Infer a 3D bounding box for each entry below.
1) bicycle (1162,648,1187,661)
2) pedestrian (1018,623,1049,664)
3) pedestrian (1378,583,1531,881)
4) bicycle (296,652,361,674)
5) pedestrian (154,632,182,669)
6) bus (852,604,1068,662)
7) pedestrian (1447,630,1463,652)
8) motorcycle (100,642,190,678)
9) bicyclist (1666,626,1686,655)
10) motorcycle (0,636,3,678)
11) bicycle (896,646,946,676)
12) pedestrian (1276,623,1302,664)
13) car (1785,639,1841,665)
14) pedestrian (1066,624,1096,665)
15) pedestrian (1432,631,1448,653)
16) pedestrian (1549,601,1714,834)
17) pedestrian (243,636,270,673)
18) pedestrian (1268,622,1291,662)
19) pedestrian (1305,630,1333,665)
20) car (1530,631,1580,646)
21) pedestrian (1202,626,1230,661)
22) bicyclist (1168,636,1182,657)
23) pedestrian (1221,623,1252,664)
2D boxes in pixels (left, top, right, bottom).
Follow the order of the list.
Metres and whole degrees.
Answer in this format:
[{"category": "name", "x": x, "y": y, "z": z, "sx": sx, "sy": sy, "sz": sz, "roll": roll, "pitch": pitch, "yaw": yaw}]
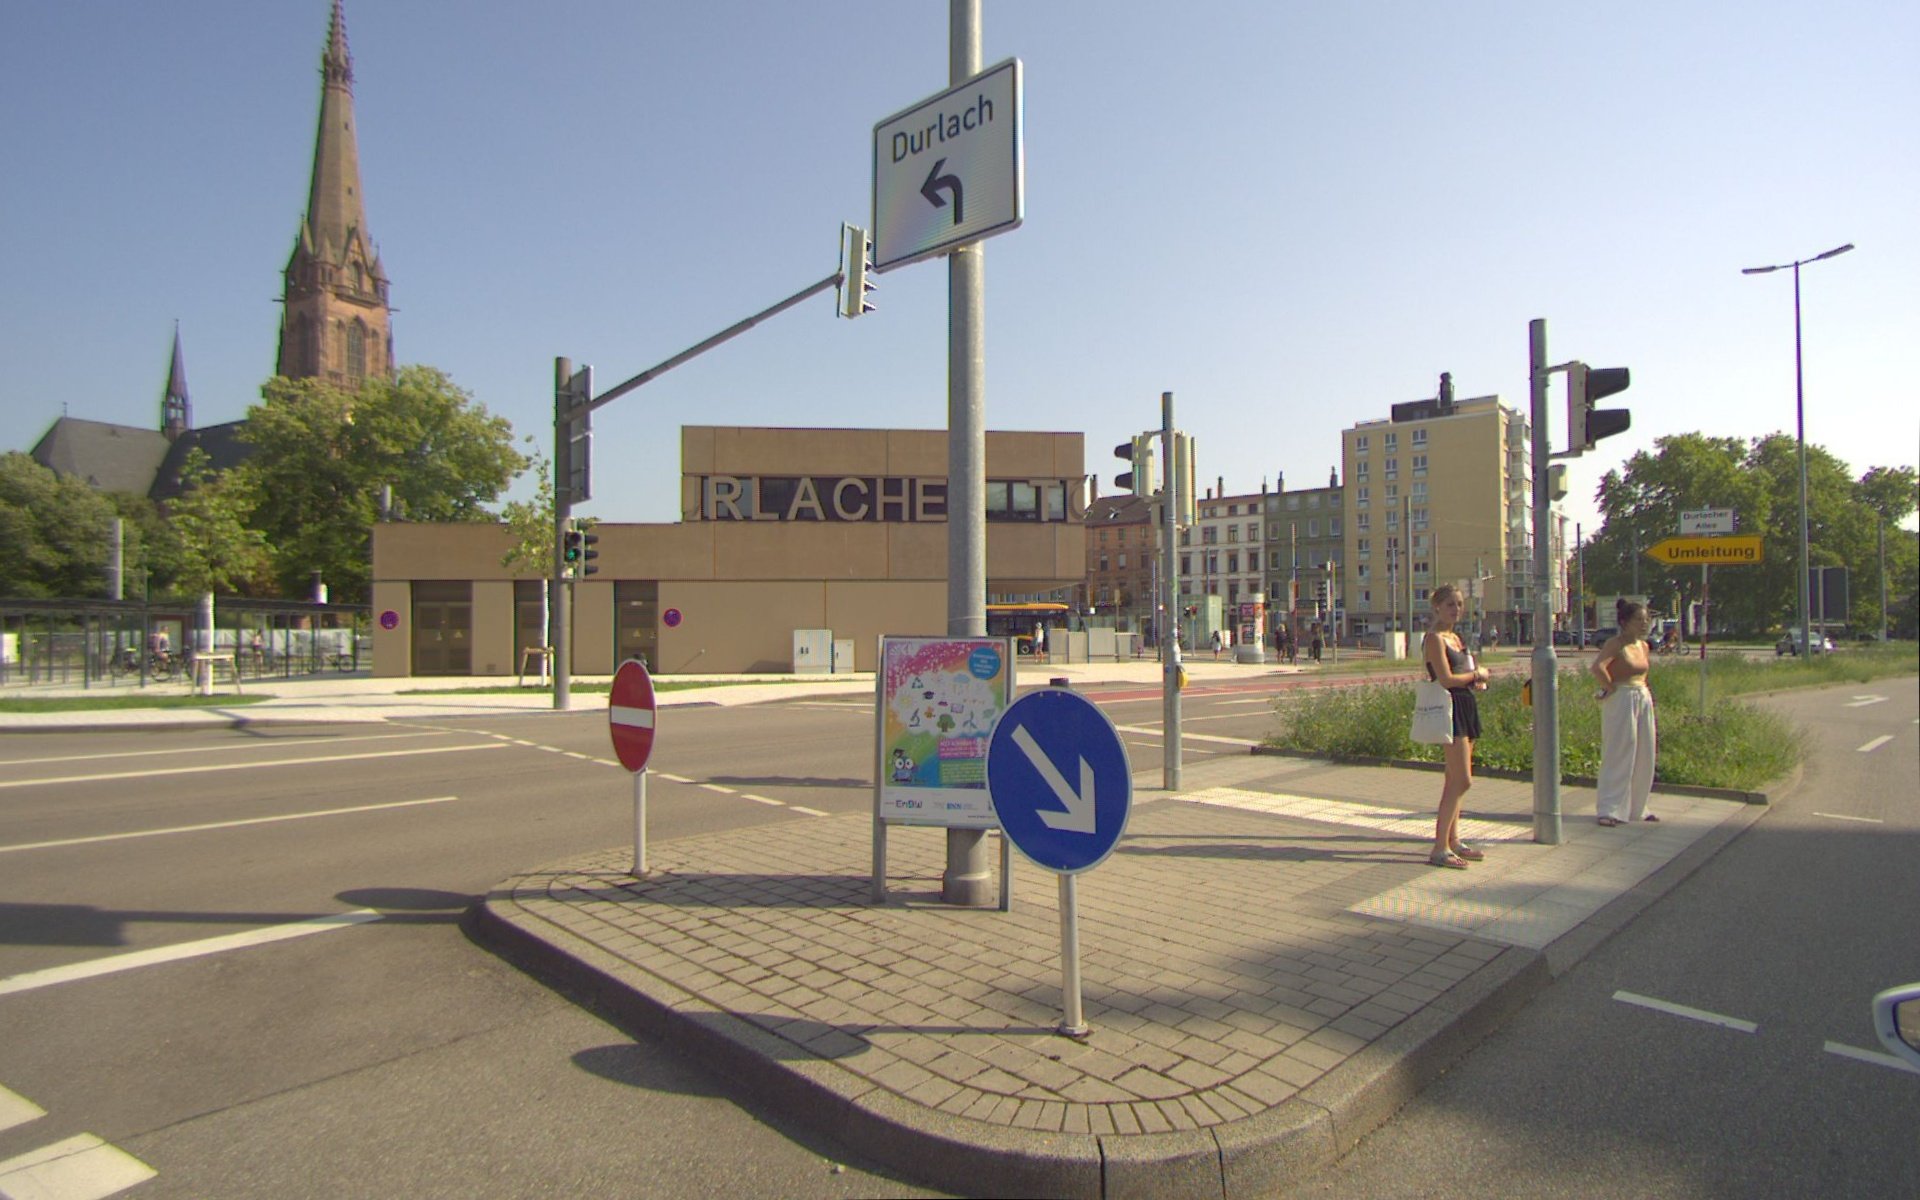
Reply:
[{"category": "bicycle", "x": 16.491, "y": 4.209, "z": 77.110, "sx": 0.721, "sy": 0.944, "sz": 1.795, "roll": 1, "pitch": -2, "yaw": -44}, {"category": "pedestrian", "x": 3.114, "y": 1.842, "z": 42.499, "sx": 0.976, "sy": 1.694, "sz": 0.861, "roll": -2, "pitch": -2, "yaw": 43}, {"category": "pedestrian", "x": 3.104, "y": 0.781, "z": 6.306, "sx": 0.660, "sy": 1.721, "sz": 0.687, "roll": -2, "pitch": -2, "yaw": 45}, {"category": "bicycle", "x": -23.109, "y": 2.303, "z": 36.797, "sx": 1.895, "sy": 0.790, "sz": 0.629, "roll": 0, "pitch": -2, "yaw": -12}, {"category": "pedestrian", "x": -30.916, "y": 1.975, "z": 39.198, "sx": 0.578, "sy": 1.427, "sz": 0.690, "roll": 0, "pitch": -2, "yaw": -10}, {"category": "bus", "x": -0.047, "y": 1.854, "z": 56.833, "sx": 11.985, "sy": 3.149, "sz": 2.715, "roll": 0, "pitch": -2, "yaw": -6}, {"category": "pedestrian", "x": 38.671, "y": 3.207, "z": 78.492, "sx": 0.911, "sy": 1.712, "sz": 0.918, "roll": -1, "pitch": -2, "yaw": 39}, {"category": "motorcycle", "x": -28.672, "y": 2.116, "z": 35.383, "sx": 2.335, "sy": 1.221, "sz": 0.757, "roll": 0, "pitch": -2, "yaw": -16}, {"category": "bicyclist", "x": 42.650, "y": 2.406, "z": 59.825, "sx": 0.721, "sy": 1.674, "sz": 0.872, "roll": 1, "pitch": -2, "yaw": -45}, {"category": "motorcycle", "x": -34.792, "y": 1.995, "z": 34.497, "sx": 2.723, "sy": 1.468, "sz": 0.788, "roll": 0, "pitch": -2, "yaw": -14}, {"category": "bicycle", "x": -1.193, "y": 1.856, "z": 30.757, "sx": 1.518, "sy": 0.849, "sz": 0.592, "roll": 0, "pitch": 1, "yaw": -5}, {"category": "pedestrian", "x": 14.969, "y": 1.979, "z": 45.738, "sx": 0.772, "sy": 1.824, "sz": 0.791, "roll": 1, "pitch": -2, "yaw": -35}, {"category": "car", "x": 50.221, "y": 3.038, "z": 59.205, "sx": 1.787, "sy": 1.452, "sz": 4.217, "roll": -1, "pitch": -2, "yaw": 30}, {"category": "pedestrian", "x": 5.228, "y": 1.914, "z": 43.364, "sx": 0.976, "sy": 1.727, "sz": 0.861, "roll": -2, "pitch": -2, "yaw": 43}, {"category": "pedestrian", "x": 37.470, "y": 3.253, "z": 78.451, "sx": 0.911, "sy": 1.712, "sz": 0.918, "roll": -1, "pitch": -2, "yaw": 39}, {"category": "pedestrian", "x": 5.077, "y": 0.857, "z": 7.626, "sx": 0.765, "sy": 1.676, "sz": 0.668, "roll": 0, "pitch": -2, "yaw": -9}, {"category": "pedestrian", "x": -26.944, "y": 2.079, "z": 38.468, "sx": 0.578, "sy": 1.427, "sz": 0.690, "roll": 0, "pitch": -2, "yaw": -10}, {"category": "pedestrian", "x": 14.868, "y": 1.952, "z": 46.808, "sx": 0.695, "sy": 1.824, "sz": 0.771, "roll": 1, "pitch": -2, "yaw": -41}, {"category": "pedestrian", "x": 16.346, "y": 2.150, "z": 45.756, "sx": 0.970, "sy": 1.579, "sz": 0.866, "roll": 0, "pitch": -2, "yaw": 1}, {"category": "car", "x": 58.793, "y": 3.793, "z": 99.298, "sx": 4.105, "sy": 1.372, "sz": 1.475, "roll": -1, "pitch": -2, "yaw": 38}, {"category": "pedestrian", "x": 11.785, "y": 1.996, "z": 46.311, "sx": 0.853, "sy": 1.583, "sz": 0.985, "roll": 0, "pitch": -2, "yaw": -20}, {"category": "bicyclist", "x": 16.533, "y": 3.567, "z": 77.081, "sx": 0.721, "sy": 1.547, "sz": 0.786, "roll": 1, "pitch": -2, "yaw": -45}, {"category": "pedestrian", "x": 12.065, "y": 1.888, "z": 43.827, "sx": 0.854, "sy": 1.793, "sz": 0.984, "roll": 1, "pitch": -2, "yaw": -25}]
